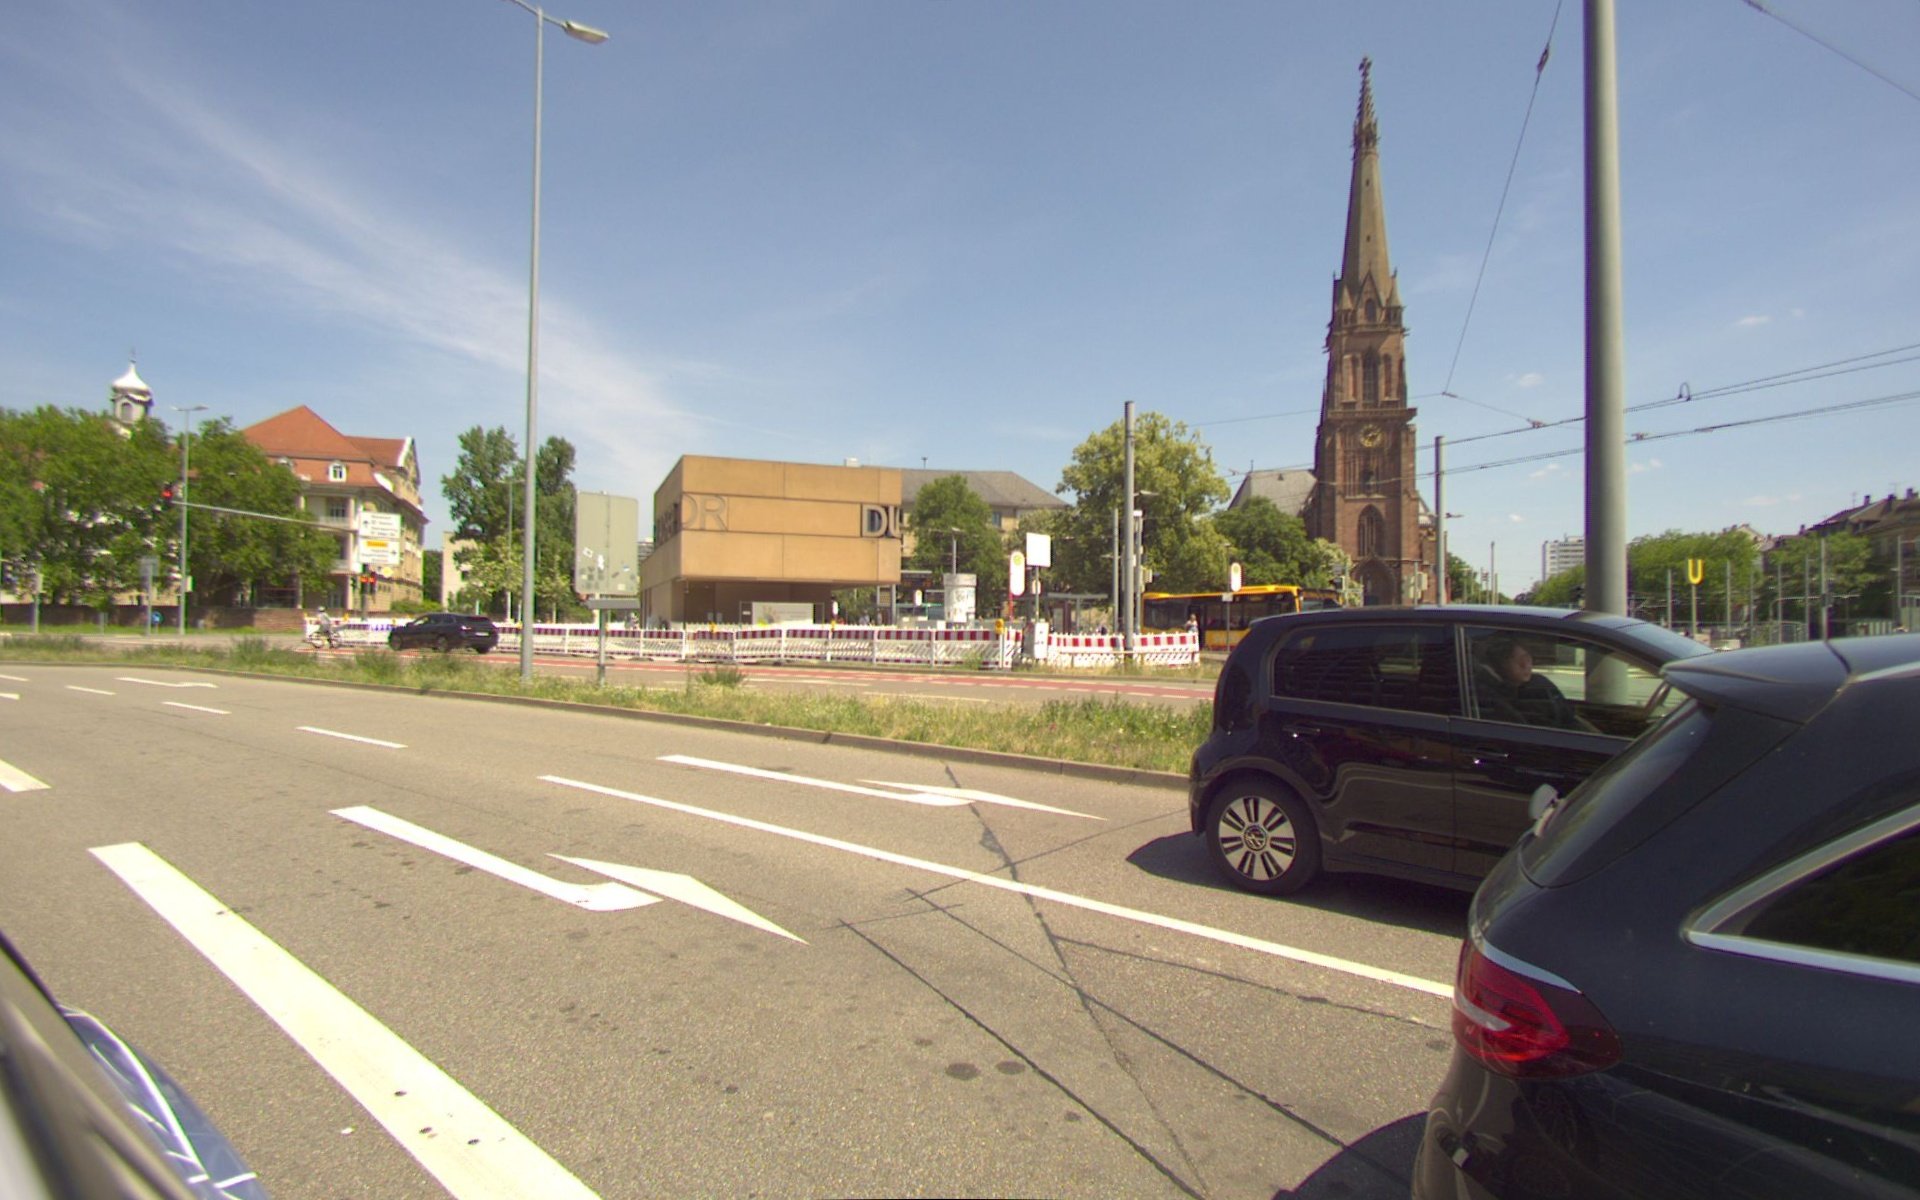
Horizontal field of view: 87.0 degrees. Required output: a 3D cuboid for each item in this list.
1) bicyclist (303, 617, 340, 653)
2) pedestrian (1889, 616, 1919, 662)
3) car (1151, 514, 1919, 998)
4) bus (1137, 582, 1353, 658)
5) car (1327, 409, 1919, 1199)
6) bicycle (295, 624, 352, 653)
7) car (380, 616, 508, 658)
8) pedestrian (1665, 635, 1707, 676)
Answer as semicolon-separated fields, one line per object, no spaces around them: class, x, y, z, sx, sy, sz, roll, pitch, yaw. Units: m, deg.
bicyclist;-25.094;1.376;39.744;1.432;1.366;0.581;0;0;27
pedestrian;38.171;1.565;40.777;0.674;1.827;1.125;0;-2;19
car;2.954;0.547;4.731;3.738;1.588;1.724;-1;-2;44
bus;12.540;0.973;46.564;2.807;3.039;12.259;1;-2;-21
car;2.885;0.603;0.461;4.806;1.653;1.777;-1;-1;44
bicycle;-24.982;1.495;39.727;2.221;1.080;0.871;0;0;27
car;-19.356;1.355;37.925;4.826;1.476;1.980;-1;-2;30
pedestrian;24.176;1.828;33.705;0.518;1.344;1.001;1;-2;-17
